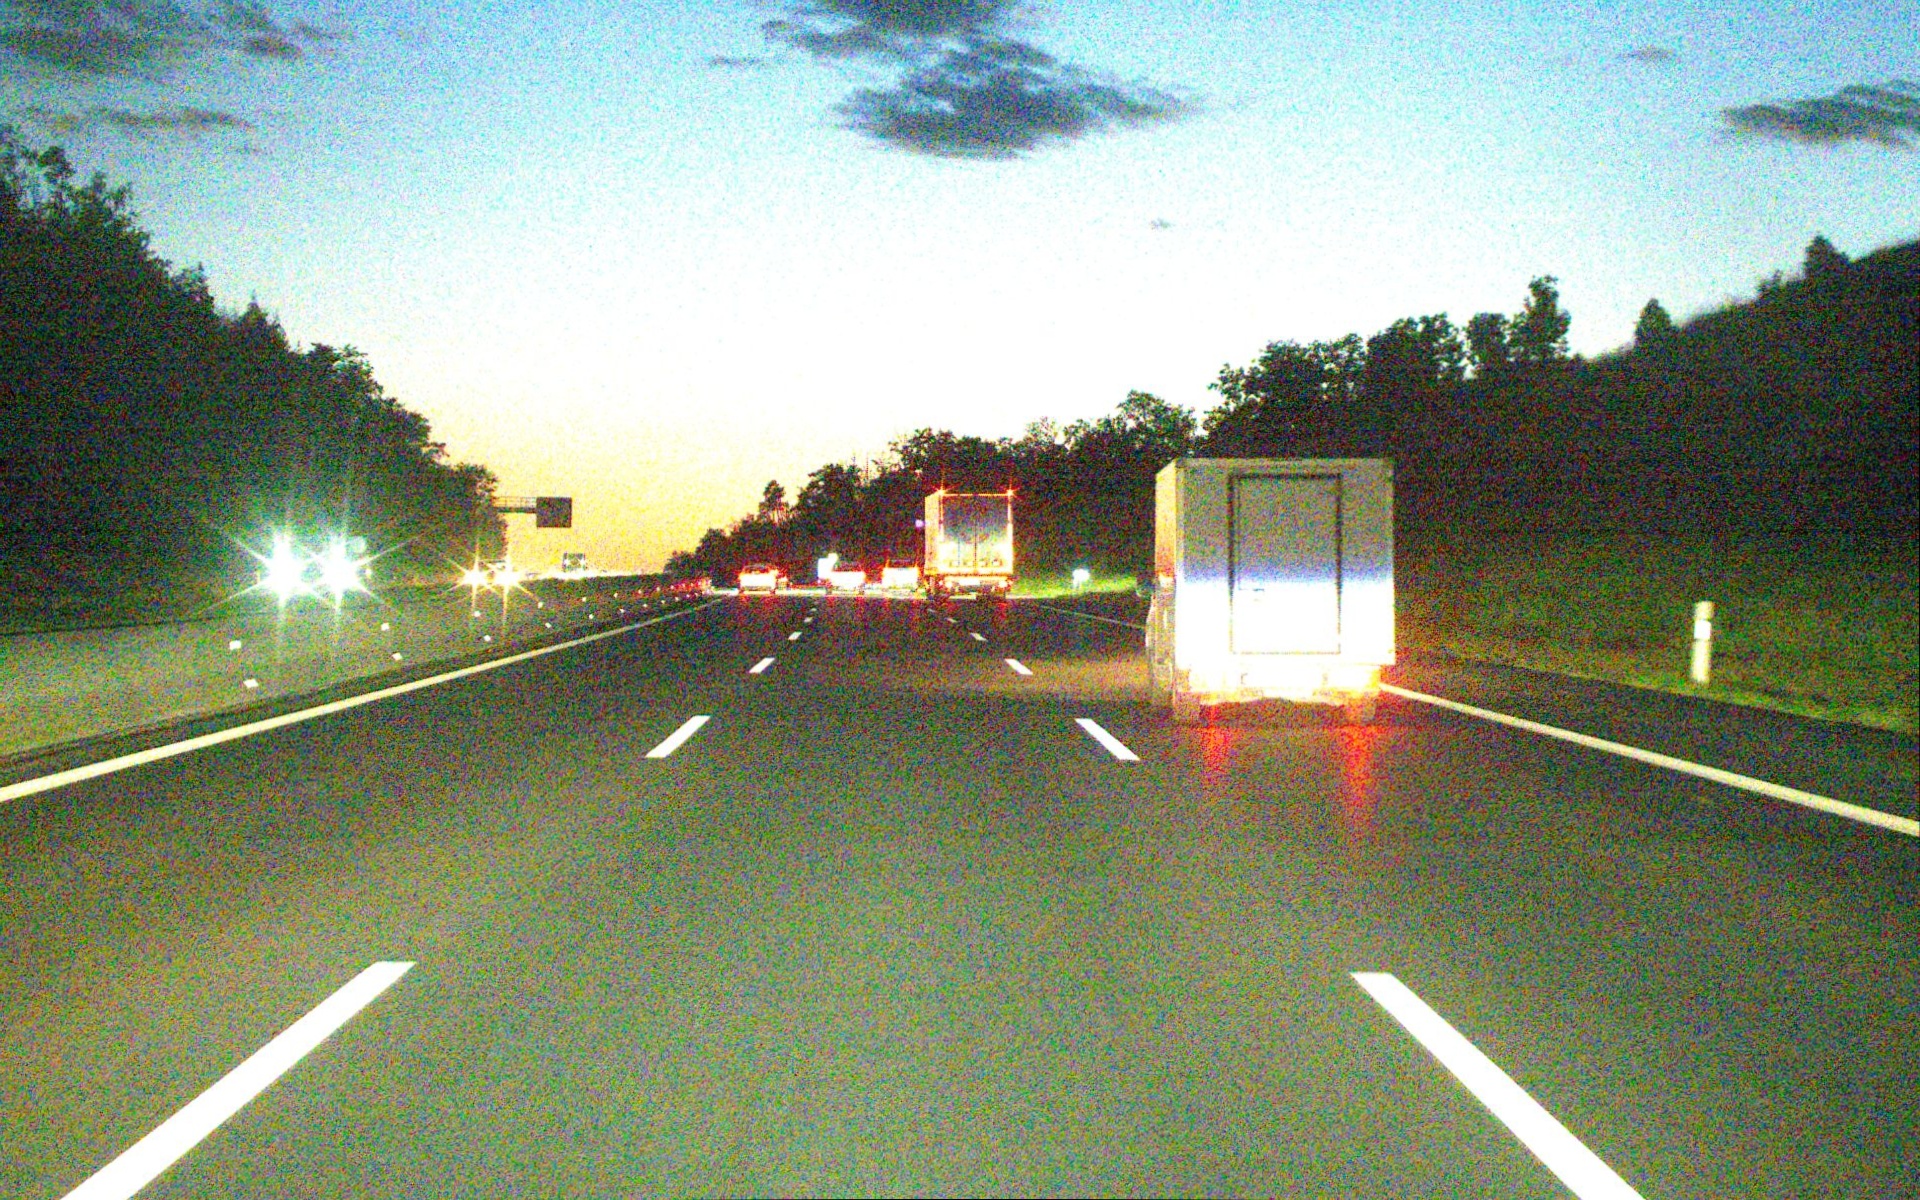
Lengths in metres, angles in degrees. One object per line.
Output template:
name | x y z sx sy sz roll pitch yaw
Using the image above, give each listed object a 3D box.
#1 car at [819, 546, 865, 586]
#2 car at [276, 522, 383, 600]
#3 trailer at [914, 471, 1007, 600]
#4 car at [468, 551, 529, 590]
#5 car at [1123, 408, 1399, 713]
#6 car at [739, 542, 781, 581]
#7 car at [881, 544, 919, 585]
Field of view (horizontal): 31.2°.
car | -5.566 -1.589 162.203 1.993 1.788 4.000 0 -1 0
car | -17.370 -1.086 94.927 2.244 2.094 5.716 0 1 -4
trailer | -0.100 -2.270 129.051 2.829 4.242 17.049 0 -1 -2
car | -20.045 -1.294 149.603 2.244 1.663 4.890 0 1 -3
car | 2.746 -0.370 32.711 2.032 2.638 5.725 0 0 -1
car | -9.794 -1.855 168.073 1.993 1.788 4.000 0 -1 -4
car | -3.278 -1.905 187.360 1.993 2.110 4.000 0 -1 -2
